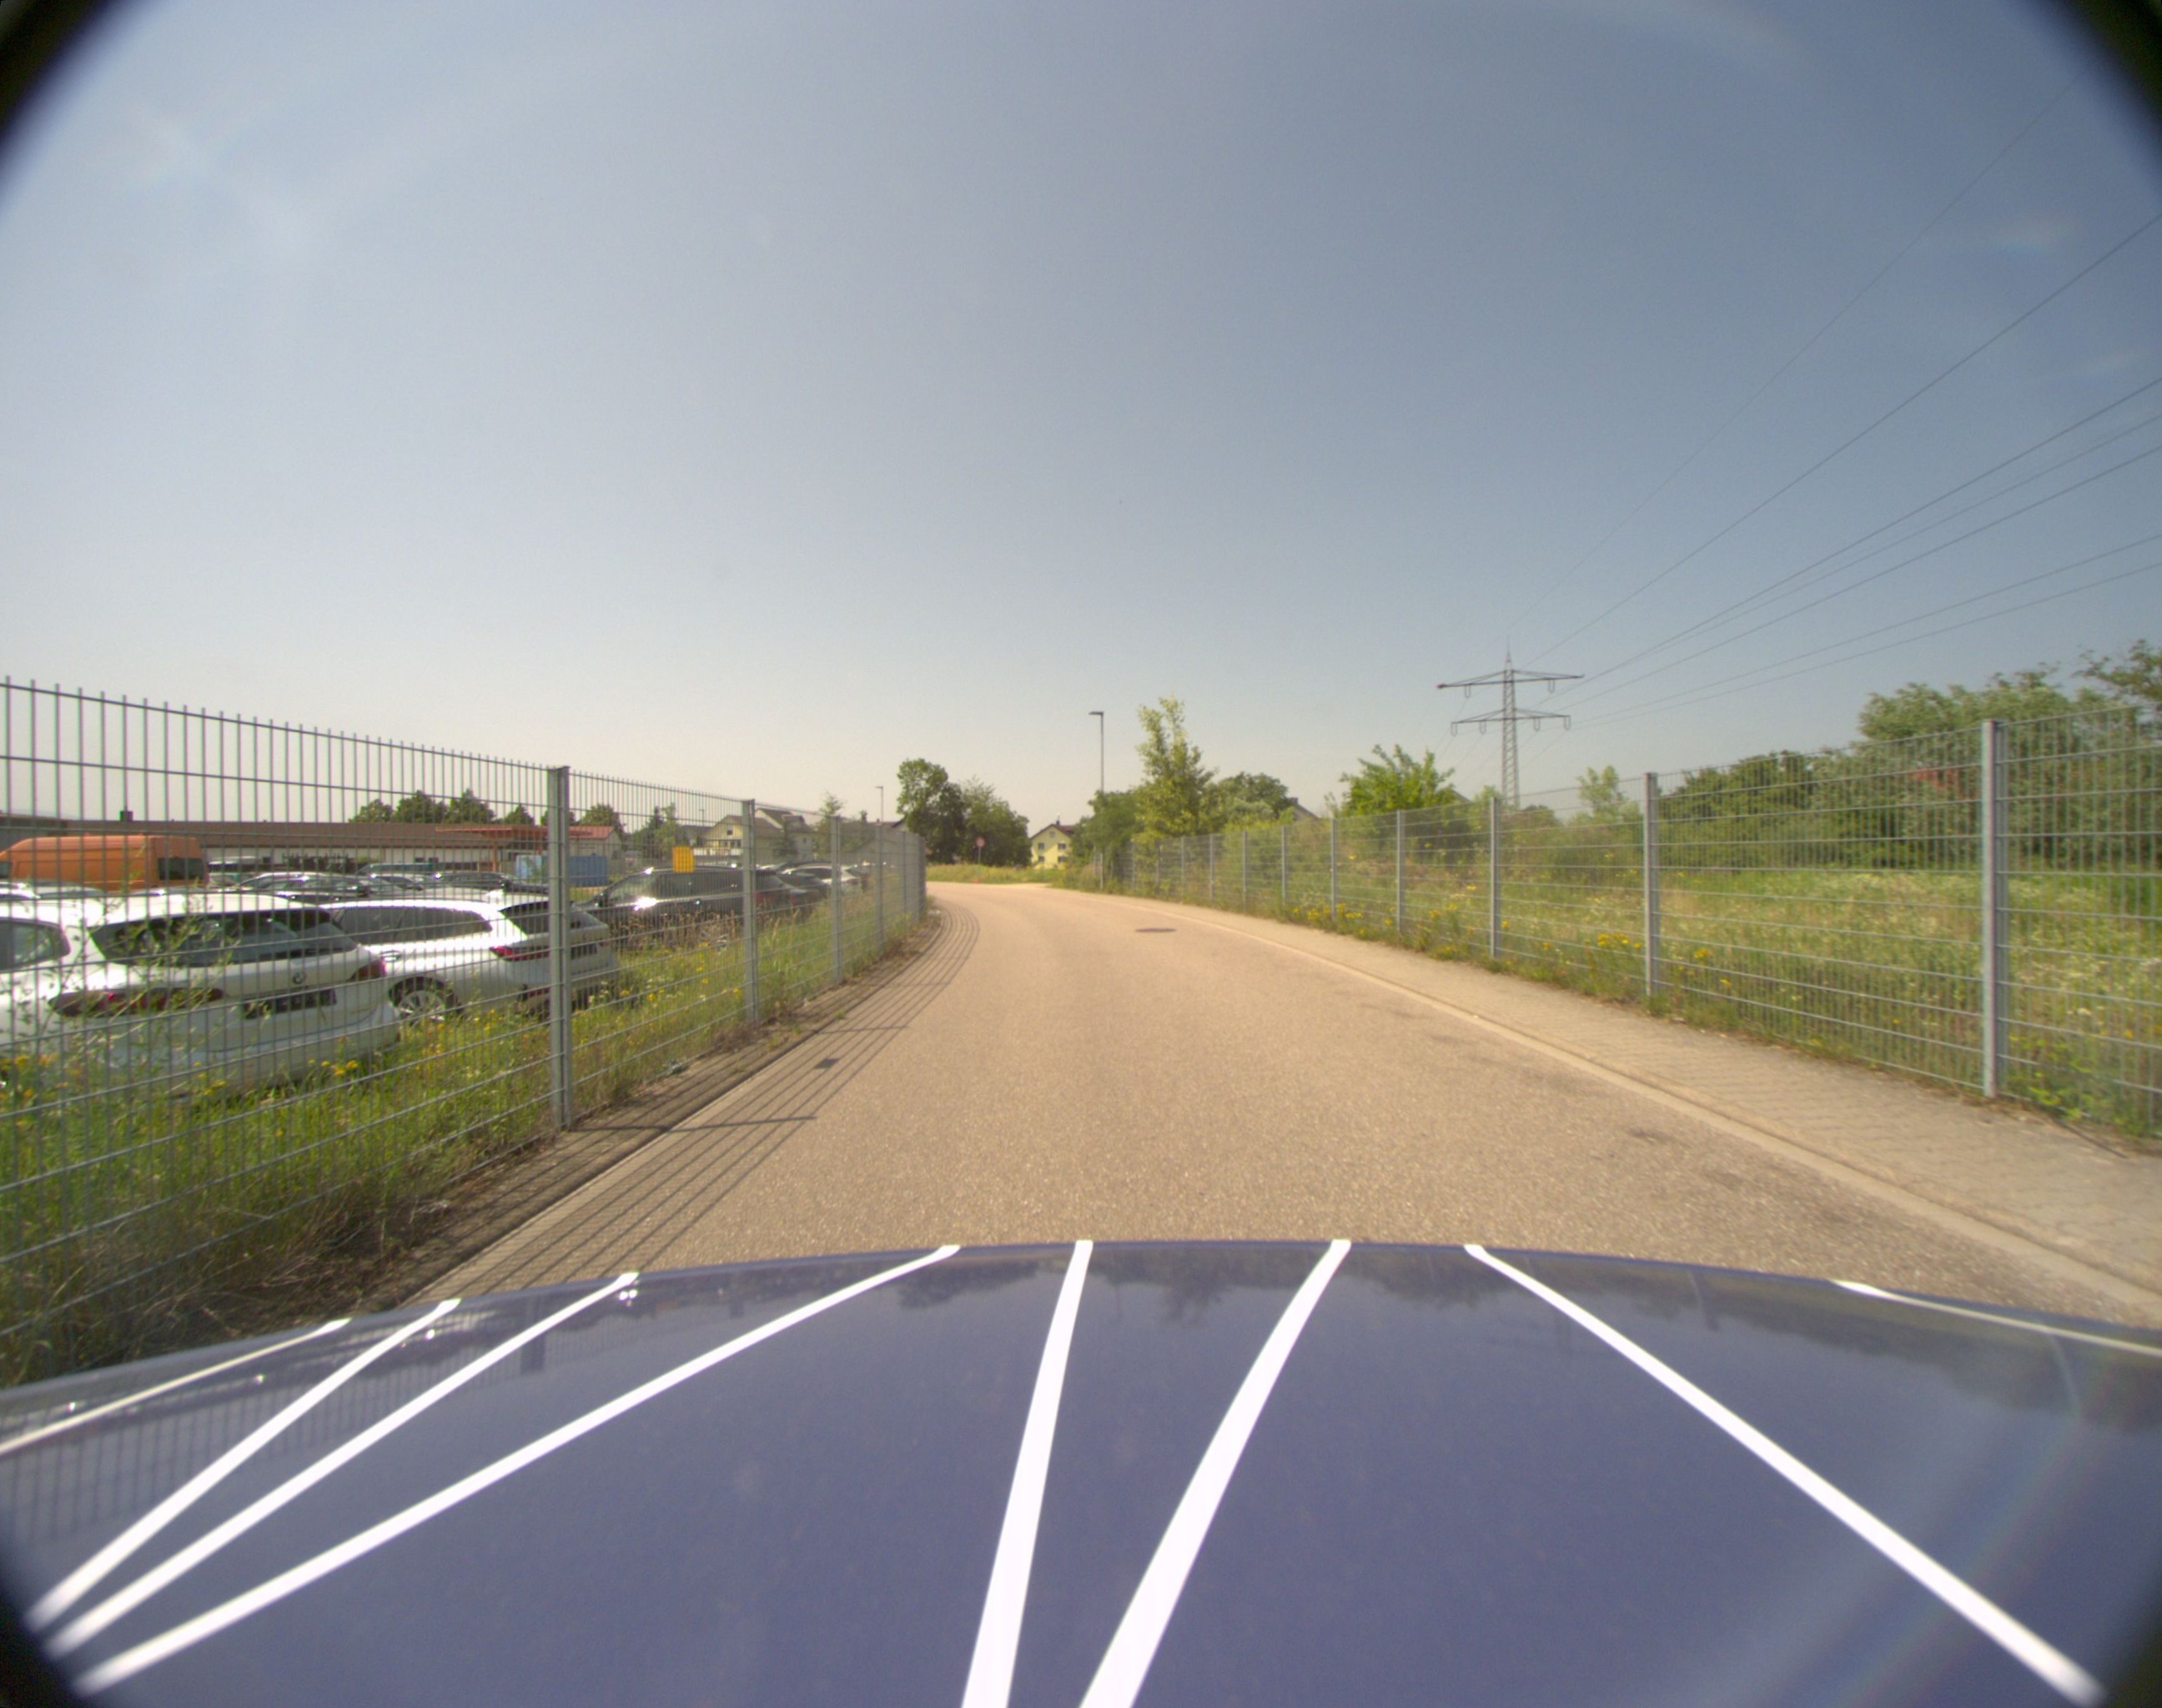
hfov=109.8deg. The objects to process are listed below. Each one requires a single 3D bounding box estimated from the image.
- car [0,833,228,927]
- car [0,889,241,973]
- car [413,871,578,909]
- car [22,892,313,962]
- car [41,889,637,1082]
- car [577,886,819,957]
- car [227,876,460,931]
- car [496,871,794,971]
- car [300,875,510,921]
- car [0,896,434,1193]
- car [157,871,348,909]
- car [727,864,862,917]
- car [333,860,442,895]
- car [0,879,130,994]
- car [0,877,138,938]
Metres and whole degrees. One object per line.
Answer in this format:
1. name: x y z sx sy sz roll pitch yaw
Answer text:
1. car: -28.579 0.717 22.052 4.749 2.569 1.978 0 0 -15
2. car: -19.114 1.433 14.549 3.775 1.428 1.610 0 0 -15
3. car: -22.775 1.373 29.780 4.762 1.344 1.819 -1 0 -15
4. car: -19.528 1.515 16.443 3.775 1.294 1.610 0 -1 -15
5. car: -7.319 1.242 7.893 4.221 1.398 1.838 -4 1 -2
6. car: -8.110 1.412 16.403 4.292 1.370 1.764 0 -1 -3
7. car: -21.013 1.362 21.871 4.578 1.424 1.660 0 -1 -15
8. car: -7.632 1.133 13.638 4.292 1.627 1.764 0 0 -3
9. car: -21.757 1.396 24.680 4.762 1.344 1.819 0 -1 -15
10. car: -7.127 1.157 4.995 4.219 1.398 1.839 -3 1 4
11. car: -29.865 1.260 27.551 4.392 1.262 1.819 0 -1 -15
12. car: -9.599 1.193 25.793 4.138 1.660 1.721 0 0 -17
13. car: -41.192 1.381 45.248 4.392 1.970 1.840 0 0 -15
14. car: -18.147 1.237 11.534 4.477 1.639 1.876 0 0 -11
15. car: -27.240 1.352 19.347 3.831 1.453 1.587 0 0 -15
